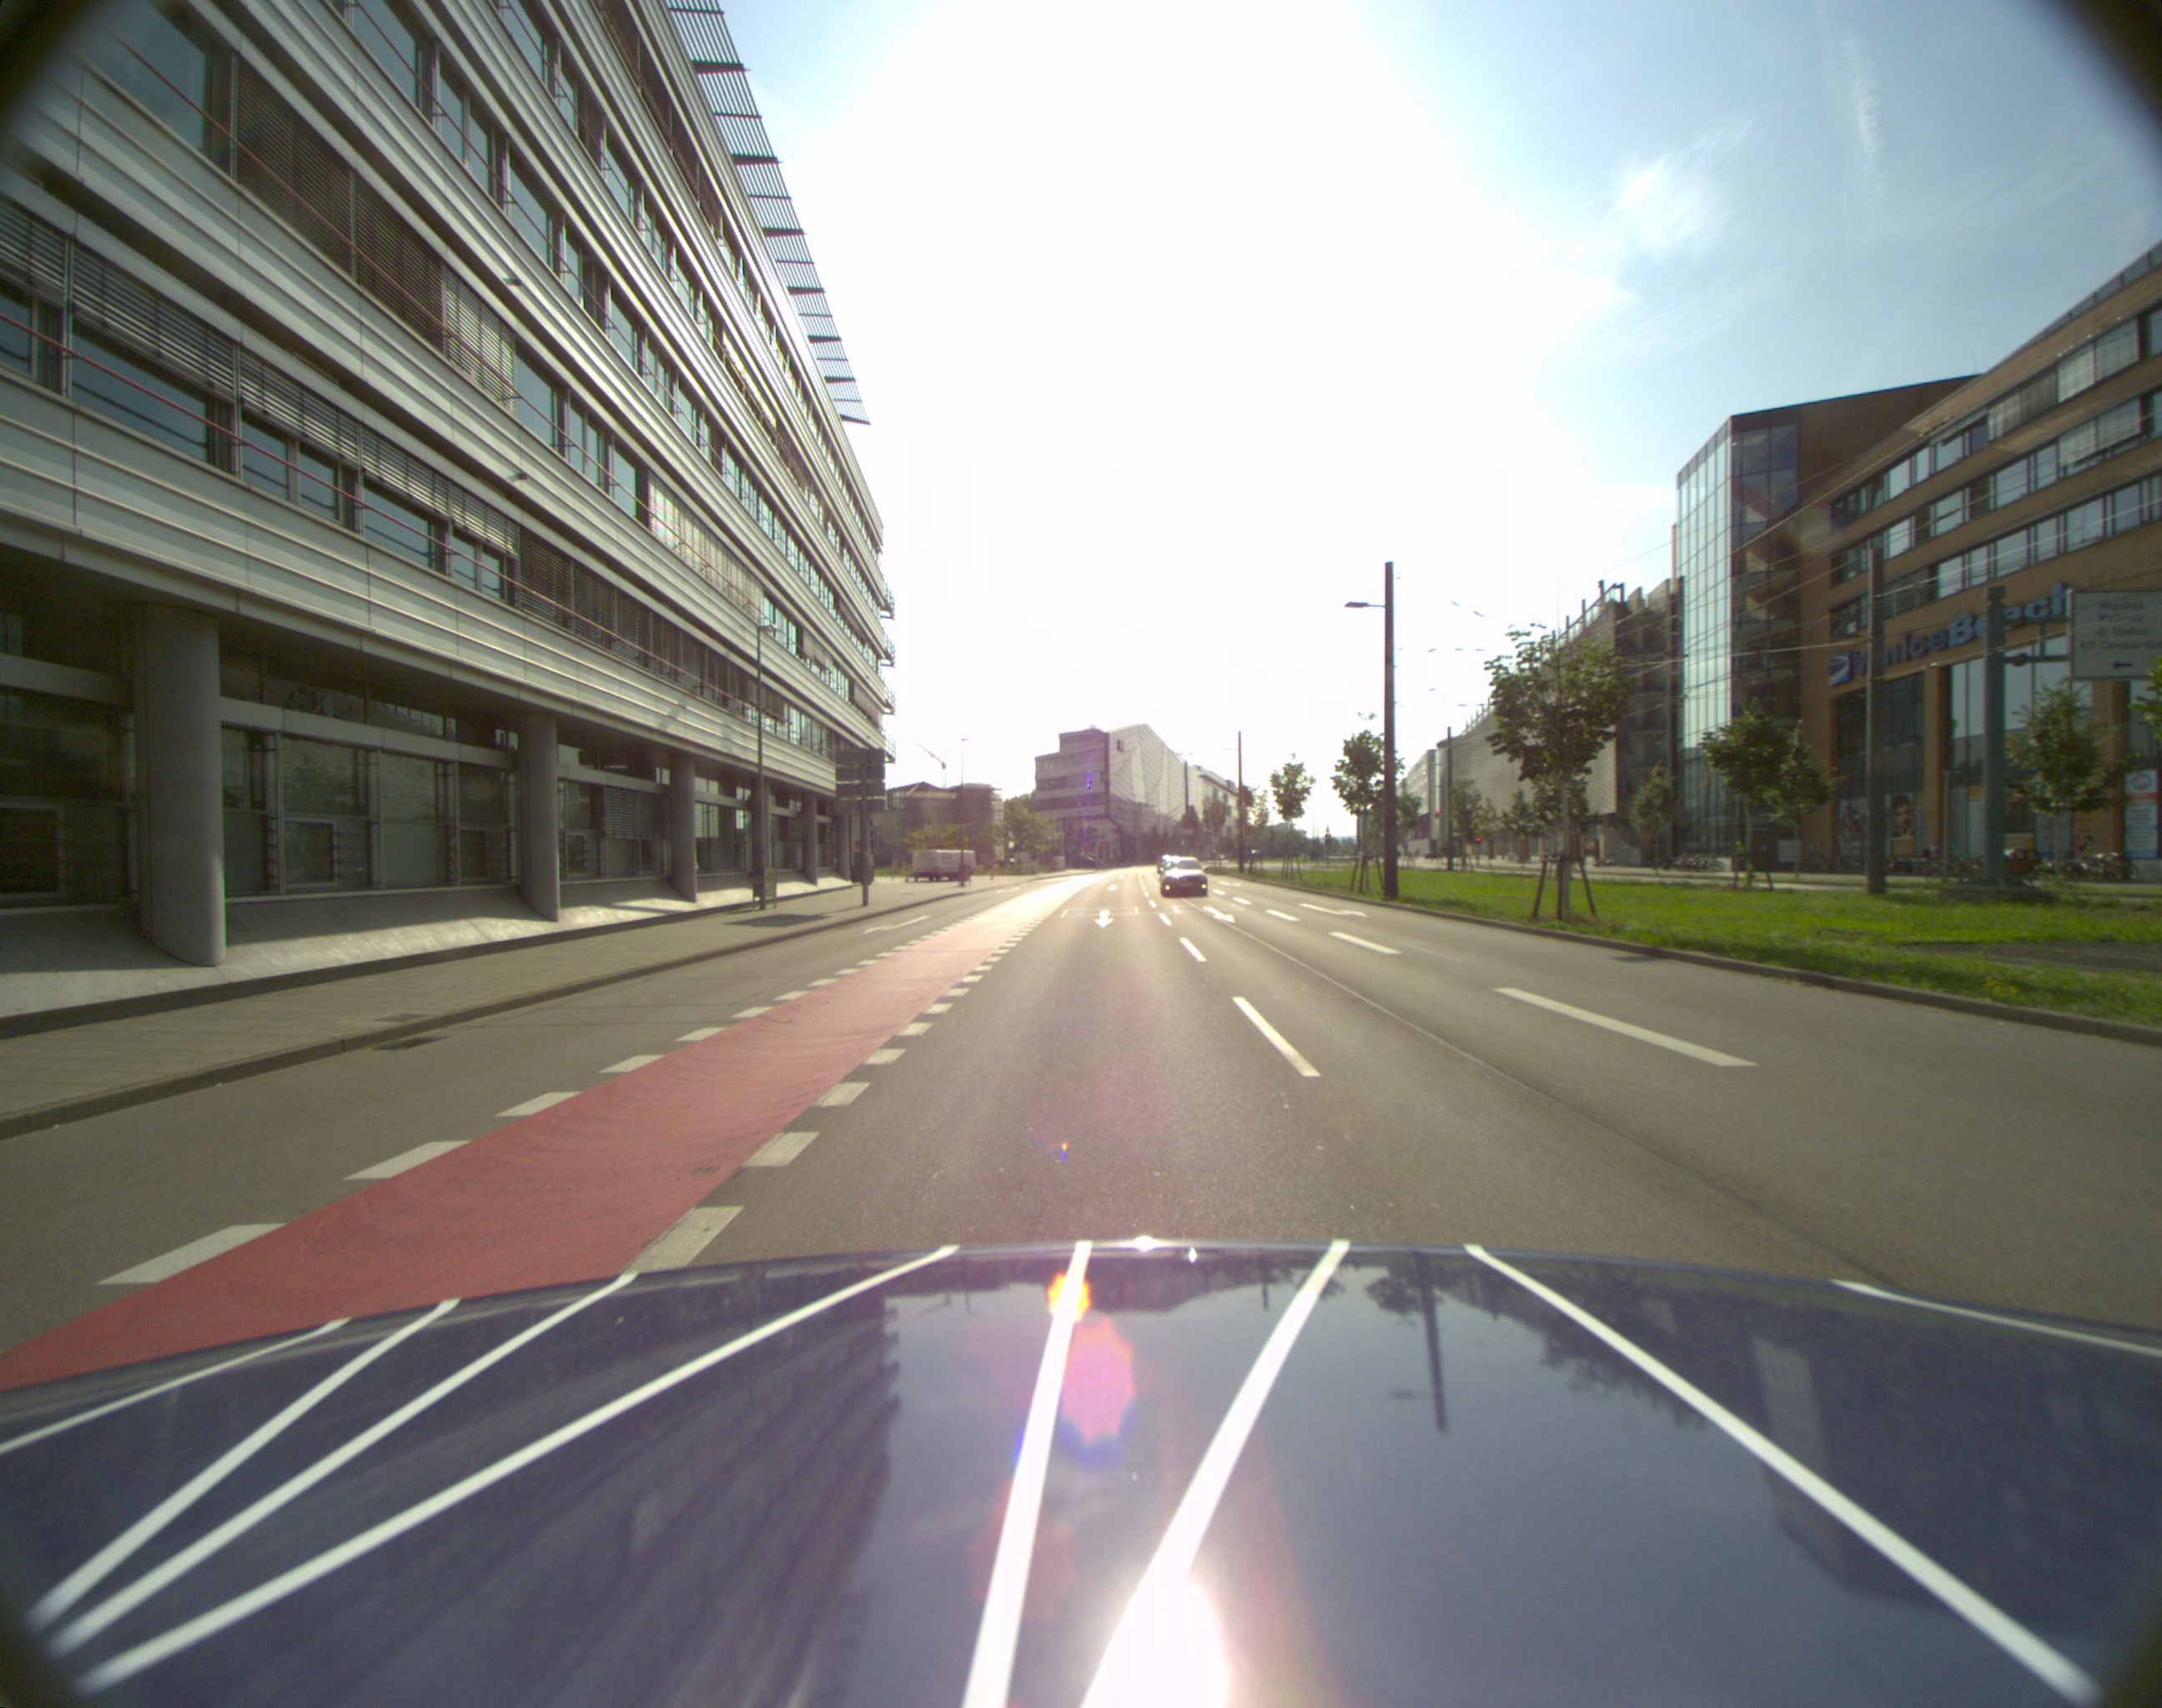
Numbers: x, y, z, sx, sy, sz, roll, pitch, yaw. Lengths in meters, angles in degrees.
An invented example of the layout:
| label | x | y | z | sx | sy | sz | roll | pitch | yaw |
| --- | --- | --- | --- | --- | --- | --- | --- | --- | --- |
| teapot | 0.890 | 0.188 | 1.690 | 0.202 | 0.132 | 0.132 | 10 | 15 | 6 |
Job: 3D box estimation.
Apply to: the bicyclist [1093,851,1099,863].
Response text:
| label | x | y | z | sx | sy | sz | roll | pitch | yaw |
| --- | --- | --- | --- | --- | --- | --- | --- | --- | --- |
| bicyclist | 2.140 | 0.479 | 107.650 | 0.669 | 1.693 | 0.637 | 0 | 2 | 8 |

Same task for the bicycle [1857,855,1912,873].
| label | x | y | z | sx | sy | sz | roll | pitch | yaw |
| --- | --- | --- | --- | --- | --- | --- | --- | --- | --- |
| bicycle | 42.446 | 0.546 | 40.150 | 2.051 | 0.916 | 0.574 | -1 | 1 | 13 |

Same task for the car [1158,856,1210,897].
| label | x | y | z | sx | sy | sz | roll | pitch | yaw |
| --- | --- | --- | --- | --- | --- | --- | --- | --- | --- |
| car | 3.931 | 0.816 | 29.494 | 1.643 | 1.411 | 3.895 | -1 | 1 | 2 |

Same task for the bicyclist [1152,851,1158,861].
| label | x | y | z | sx | sy | sz | roll | pitch | yaw |
| --- | --- | --- | --- | --- | --- | --- | --- | --- | --- |
| bicyclist | 12.568 | 0.305 | 128.624 | 0.781 | 1.577 | 0.933 | 0 | 2 | 24 |

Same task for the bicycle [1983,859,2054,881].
| label | x | y | z | sx | sy | sz | roll | pitch | yaw |
| --- | --- | --- | --- | --- | --- | --- | --- | --- | --- |
| bicycle | 41.143 | 0.694 | 33.351 | 2.051 | 0.916 | 0.574 | -1 | 1 | 13 |

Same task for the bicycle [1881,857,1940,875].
| label | x | y | z | sx | sy | sz | roll | pitch | yaw |
| --- | --- | --- | --- | --- | --- | --- | --- | --- | --- |
| bicycle | 42.070 | 0.602 | 38.546 | 2.051 | 0.916 | 0.574 | -1 | 1 | 13 |

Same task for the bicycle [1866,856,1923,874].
| label | x | y | z | sx | sy | sz | roll | pitch | yaw |
| --- | --- | --- | --- | --- | --- | --- | --- | --- | --- |
| bicycle | 42.201 | 0.586 | 39.410 | 2.051 | 0.916 | 0.574 | -1 | 1 | 13 |

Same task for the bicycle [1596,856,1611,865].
| label | x | y | z | sx | sy | sz | roll | pitch | yaw |
| --- | --- | --- | --- | --- | --- | --- | --- | --- | --- |
| bicycle | 44.366 | 0.588 | 64.499 | 1.022 | 0.747 | 0.361 | -1 | 1 | 19 |

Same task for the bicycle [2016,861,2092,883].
| label | x | y | z | sx | sy | sz | roll | pitch | yaw |
| --- | --- | --- | --- | --- | --- | --- | --- | --- | --- |
| bicycle | 40.625 | 0.754 | 31.753 | 2.051 | 0.916 | 0.574 | -1 | 1 | 13 |

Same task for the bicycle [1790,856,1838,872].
| label | x | y | z | sx | sy | sz | roll | pitch | yaw |
| --- | --- | --- | --- | --- | --- | --- | --- | --- | --- |
| bicycle | 43.491 | 0.567 | 45.109 | 2.051 | 0.916 | 0.574 | -1 | 1 | 13 |

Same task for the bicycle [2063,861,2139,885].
| label | x | y | z | sx | sy | sz | roll | pitch | yaw |
| --- | --- | --- | --- | --- | --- | --- | --- | --- | --- |
| bicycle | 40.411 | 0.762 | 30.120 | 2.051 | 0.916 | 0.381 | -1 | 1 | 13 |

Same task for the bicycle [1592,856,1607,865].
| label | x | y | z | sx | sy | sz | roll | pitch | yaw |
| --- | --- | --- | --- | --- | --- | --- | --- | --- | --- |
| bicycle | 44.758 | 0.558 | 65.625 | 1.004 | 0.747 | 0.453 | -1 | 1 | 19 |

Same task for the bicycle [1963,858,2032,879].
| label | x | y | z | sx | sy | sz | roll | pitch | yaw |
| --- | --- | --- | --- | --- | --- | --- | --- | --- | --- |
| bicycle | 41.287 | 0.664 | 34.242 | 2.051 | 0.916 | 0.574 | -1 | 1 | 13 |

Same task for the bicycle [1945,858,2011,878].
| label | x | y | z | sx | sy | sz | roll | pitch | yaw |
| --- | --- | --- | --- | --- | --- | --- | --- | --- | --- |
| bicycle | 41.513 | 0.651 | 35.192 | 2.051 | 0.916 | 0.574 | -1 | 1 | 13 |

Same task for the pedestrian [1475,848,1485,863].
| label | x | y | z | sx | sy | sz | roll | pitch | yaw |
| --- | --- | --- | --- | --- | --- | --- | --- | --- | --- |
| pedestrian | 42.395 | 0.152 | 80.715 | 0.762 | 1.570 | 0.590 | 0 | 1 | 14 |

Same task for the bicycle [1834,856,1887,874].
| label | x | y | z | sx | sy | sz | roll | pitch | yaw |
| --- | --- | --- | --- | --- | --- | --- | --- | --- | --- |
| bicycle | 42.613 | 0.602 | 41.536 | 2.051 | 0.916 | 0.574 | -1 | 1 | 13 |

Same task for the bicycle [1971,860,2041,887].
| label | x | y | z | sx | sy | sz | roll | pitch | yaw |
| --- | --- | --- | --- | --- | --- | --- | --- | --- | --- |
| bicycle | 34.916 | 0.737 | 28.692 | 1.679 | 0.902 | 0.710 | -3 | 1 | 4 |

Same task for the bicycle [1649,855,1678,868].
| label | x | y | z | sx | sy | sz | roll | pitch | yaw |
| --- | --- | --- | --- | --- | --- | --- | --- | --- | --- |
| bicycle | 41.520 | 0.523 | 54.210 | 1.581 | 0.935 | 0.473 | -1 | 1 | 17 |

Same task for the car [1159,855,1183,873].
| label | x | y | z | sx | sy | sz | roll | pitch | yaw |
| --- | --- | --- | --- | --- | --- | --- | --- | --- | --- |
| car | 7.156 | 0.803 | 60.768 | 1.587 | 1.335 | 3.165 | -1 | 0 | 1 |

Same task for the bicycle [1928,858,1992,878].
| label | x | y | z | sx | sy | sz | roll | pitch | yaw |
| --- | --- | --- | --- | --- | --- | --- | --- | --- | --- |
| bicycle | 41.583 | 0.642 | 35.969 | 2.051 | 0.916 | 0.574 | -1 | 1 | 13 |

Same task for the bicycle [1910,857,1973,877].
| label | x | y | z | sx | sy | sz | roll | pitch | yaw |
| --- | --- | --- | --- | --- | --- | --- | --- | --- | --- |
| bicycle | 41.693 | 0.618 | 36.826 | 2.051 | 0.916 | 0.574 | -1 | 1 | 13 |

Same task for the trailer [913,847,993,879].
| label | x | y | z | sx | sy | sz | roll | pitch | yaw |
| --- | --- | --- | --- | --- | --- | --- | --- | --- | --- |
| trailer | -8.969 | 0.594 | 53.799 | 2.390 | 2.138 | 5.960 | 0 | 0 | 29 |

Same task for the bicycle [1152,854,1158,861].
| label | x | y | z | sx | sy | sz | roll | pitch | yaw |
| --- | --- | --- | --- | --- | --- | --- | --- | --- | --- |
| bicycle | 12.553 | 0.626 | 128.659 | 0.418 | 1.050 | 1.962 | 0 | 2 | 24 |

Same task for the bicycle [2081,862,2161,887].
| label | x | y | z | sx | sy | sz | roll | pitch | yaw |
| --- | --- | --- | --- | --- | --- | --- | --- | --- | --- |
| bicycle | 40.289 | 0.786 | 29.393 | 2.051 | 0.916 | 0.574 | -1 | 1 | 13 |

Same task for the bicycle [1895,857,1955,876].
| label | x | y | z | sx | sy | sz | roll | pitch | yaw |
| --- | --- | --- | --- | --- | --- | --- | --- | --- | --- |
| bicycle | 41.892 | 0.624 | 37.723 | 2.051 | 0.916 | 0.574 | -1 | 1 | 13 |
